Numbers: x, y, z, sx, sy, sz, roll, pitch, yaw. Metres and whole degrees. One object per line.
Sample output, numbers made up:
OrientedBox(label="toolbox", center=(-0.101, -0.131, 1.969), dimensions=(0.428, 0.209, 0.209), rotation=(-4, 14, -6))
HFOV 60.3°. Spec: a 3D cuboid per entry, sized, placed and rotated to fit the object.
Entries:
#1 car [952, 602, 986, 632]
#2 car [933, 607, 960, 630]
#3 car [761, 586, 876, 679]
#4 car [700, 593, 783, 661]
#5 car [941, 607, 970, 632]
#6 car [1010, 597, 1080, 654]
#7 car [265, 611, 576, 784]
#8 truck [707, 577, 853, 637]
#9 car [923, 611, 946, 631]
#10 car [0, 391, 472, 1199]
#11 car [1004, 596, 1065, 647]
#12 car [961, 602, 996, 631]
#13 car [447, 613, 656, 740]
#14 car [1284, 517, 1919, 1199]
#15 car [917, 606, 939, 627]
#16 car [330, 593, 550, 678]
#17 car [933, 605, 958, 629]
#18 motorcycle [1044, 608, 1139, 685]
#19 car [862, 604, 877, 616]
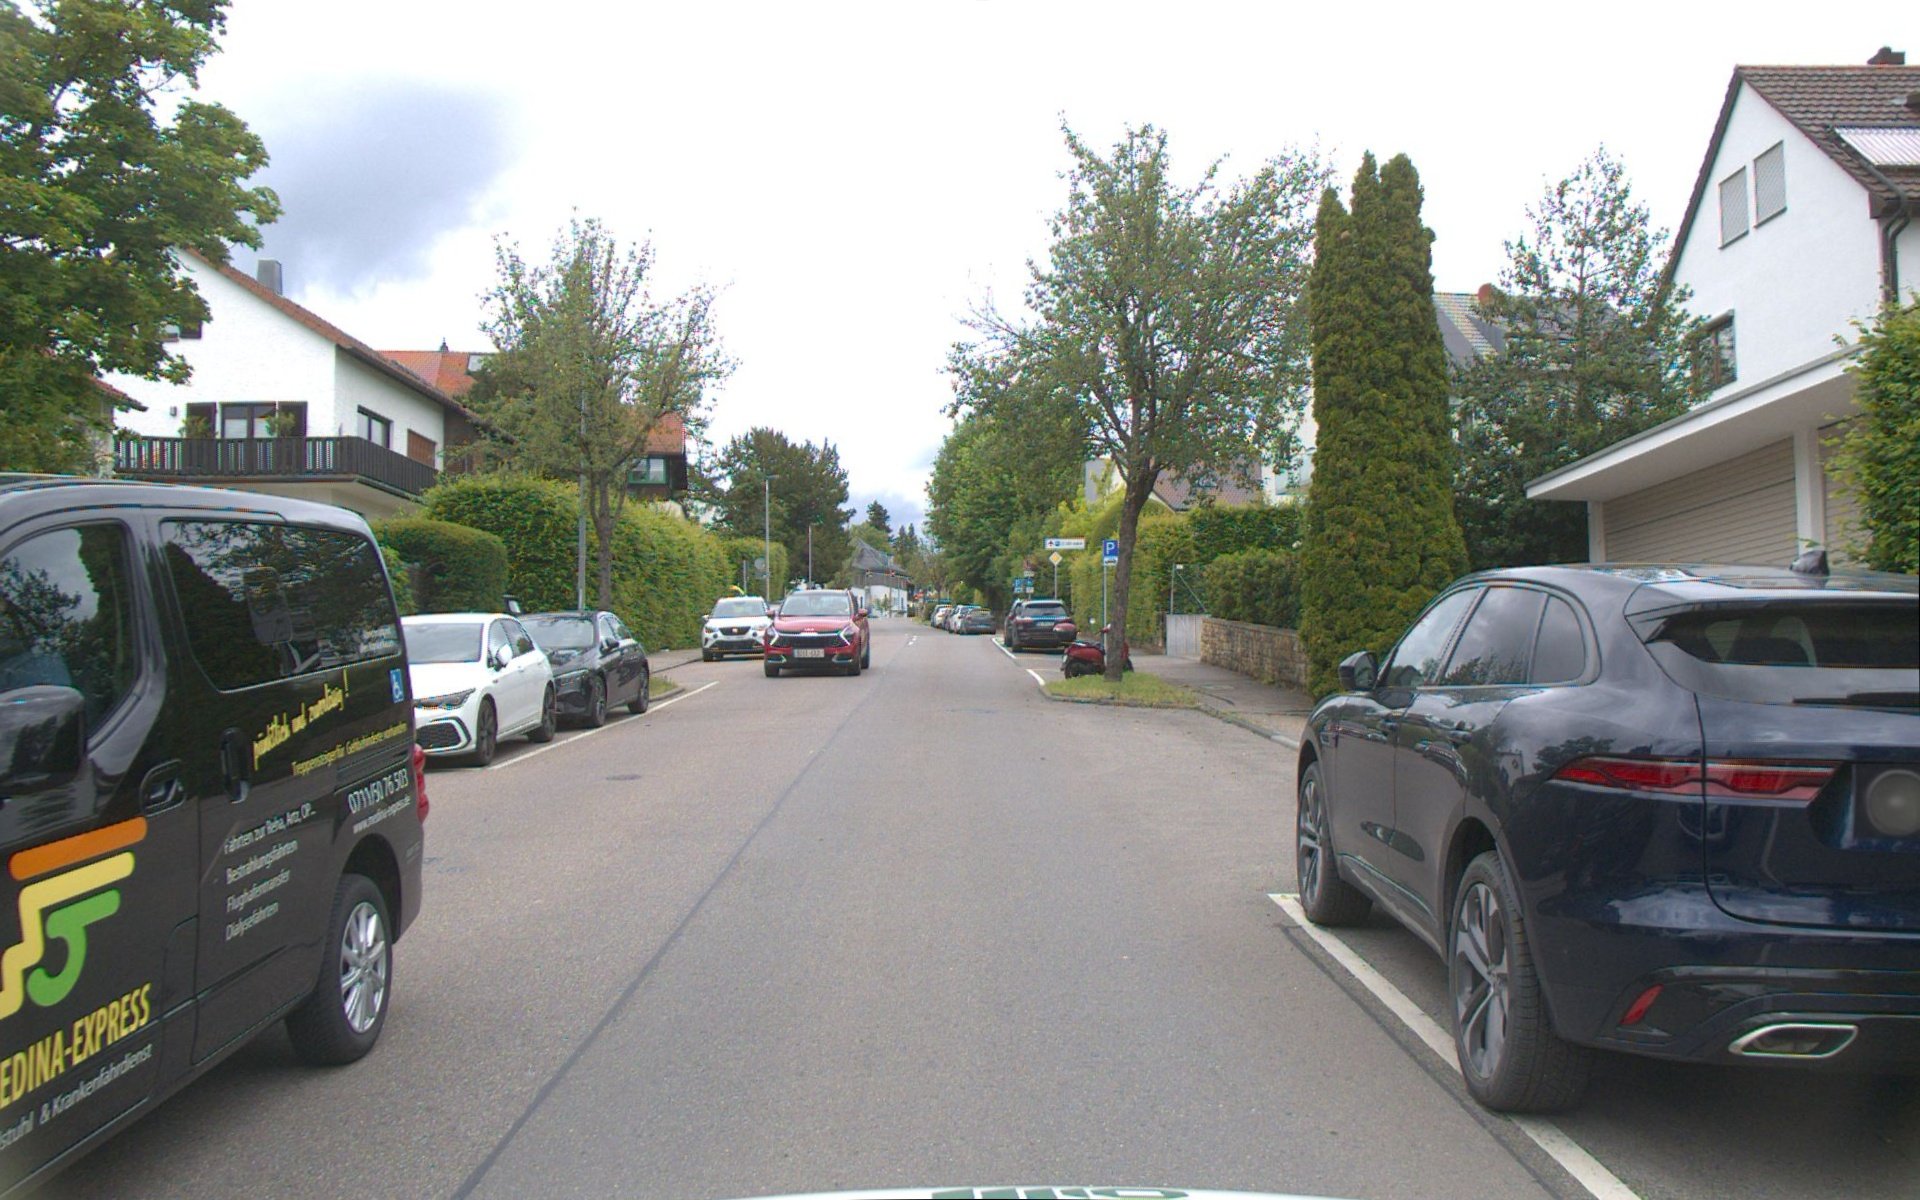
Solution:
OrientedBox(label="car", center=(0.529, 0.998, 96.424), dimensions=(1.680, 1.686, 3.619), rotation=(0, 0, -5))
OrientedBox(label="car", center=(-0.971, 1.299, 116.439), dimensions=(1.632, 1.527, 3.464), rotation=(0, 0, -5))
OrientedBox(label="car", center=(-2.755, 0.605, 33.076), dimensions=(1.901, 1.676, 4.257), rotation=(-2, 0, 0))
OrientedBox(label="car", center=(-5.436, 0.631, 41.553), dimensions=(1.688, 1.567, 3.998), rotation=(-1, 0, -3))
OrientedBox(label="car", center=(-0.315, 1.223, 105.896), dimensions=(1.632, 1.527, 3.464), rotation=(0, 0, -5))
OrientedBox(label="car", center=(2.455, 0.717, 48.595), dimensions=(1.844, 1.560, 4.475), rotation=(1, 0, 0))
OrientedBox(label="car", center=(-5.369, 0.894, 17.103), dimensions=(1.800, 1.447, 4.407), rotation=(-2, 0, -1))
OrientedBox(label="truck", center=(-7.789, 0.328, 71.295), dimensions=(5.840, 2.349, 2.811), rotation=(1, -3, -18))
OrientedBox(label="car", center=(-2.046, 1.630, 130.619), dimensions=(1.632, 1.527, 3.464), rotation=(0, 0, -5))
OrientedBox(label="car", center=(-2.798, 0.550, 4.183), dimensions=(1.847, 1.883, 4.401), rotation=(-1, 0, -1))
OrientedBox(label="car", center=(2.413, 0.683, 54.451), dimensions=(1.844, 1.560, 4.475), rotation=(1, 0, 0))
OrientedBox(label="car", center=(1.003, 0.907, 91.898), dimensions=(1.632, 1.527, 3.464), rotation=(0, 0, -5))
OrientedBox(label="car", center=(-5.229, 0.924, 21.677), dimensions=(1.692, 1.448, 4.079), rotation=(-2, 0, 0))
OrientedBox(label="car", center=(2.599, 0.663, 6.219), dimensions=(1.952, 1.646, 4.514), rotation=(2, 0, 1))
OrientedBox(label="car", center=(-2.669, 1.364, 138.576), dimensions=(1.611, 1.697, 3.464), rotation=(0, 0, -5))
OrientedBox(label="car", center=(-10.702, 0.706, 34.195), dimensions=(3.903, 1.560, 1.789), rotation=(2, 1, 3))
OrientedBox(label="car", center=(-1.073, 1.270, 123.574), dimensions=(1.632, 1.697, 3.464), rotation=(0, 0, -5))
OrientedBox(label="motorcycle", center=(2.459, 0.851, 30.819), dimensions=(1.848, 1.370, 0.592), rotation=(-1, 0, -37))
OrientedBox(label="car", center=(-11.592, 1.262, 211.956), dimensions=(1.786, 1.445, 3.996), rotation=(0, 0, -4))
